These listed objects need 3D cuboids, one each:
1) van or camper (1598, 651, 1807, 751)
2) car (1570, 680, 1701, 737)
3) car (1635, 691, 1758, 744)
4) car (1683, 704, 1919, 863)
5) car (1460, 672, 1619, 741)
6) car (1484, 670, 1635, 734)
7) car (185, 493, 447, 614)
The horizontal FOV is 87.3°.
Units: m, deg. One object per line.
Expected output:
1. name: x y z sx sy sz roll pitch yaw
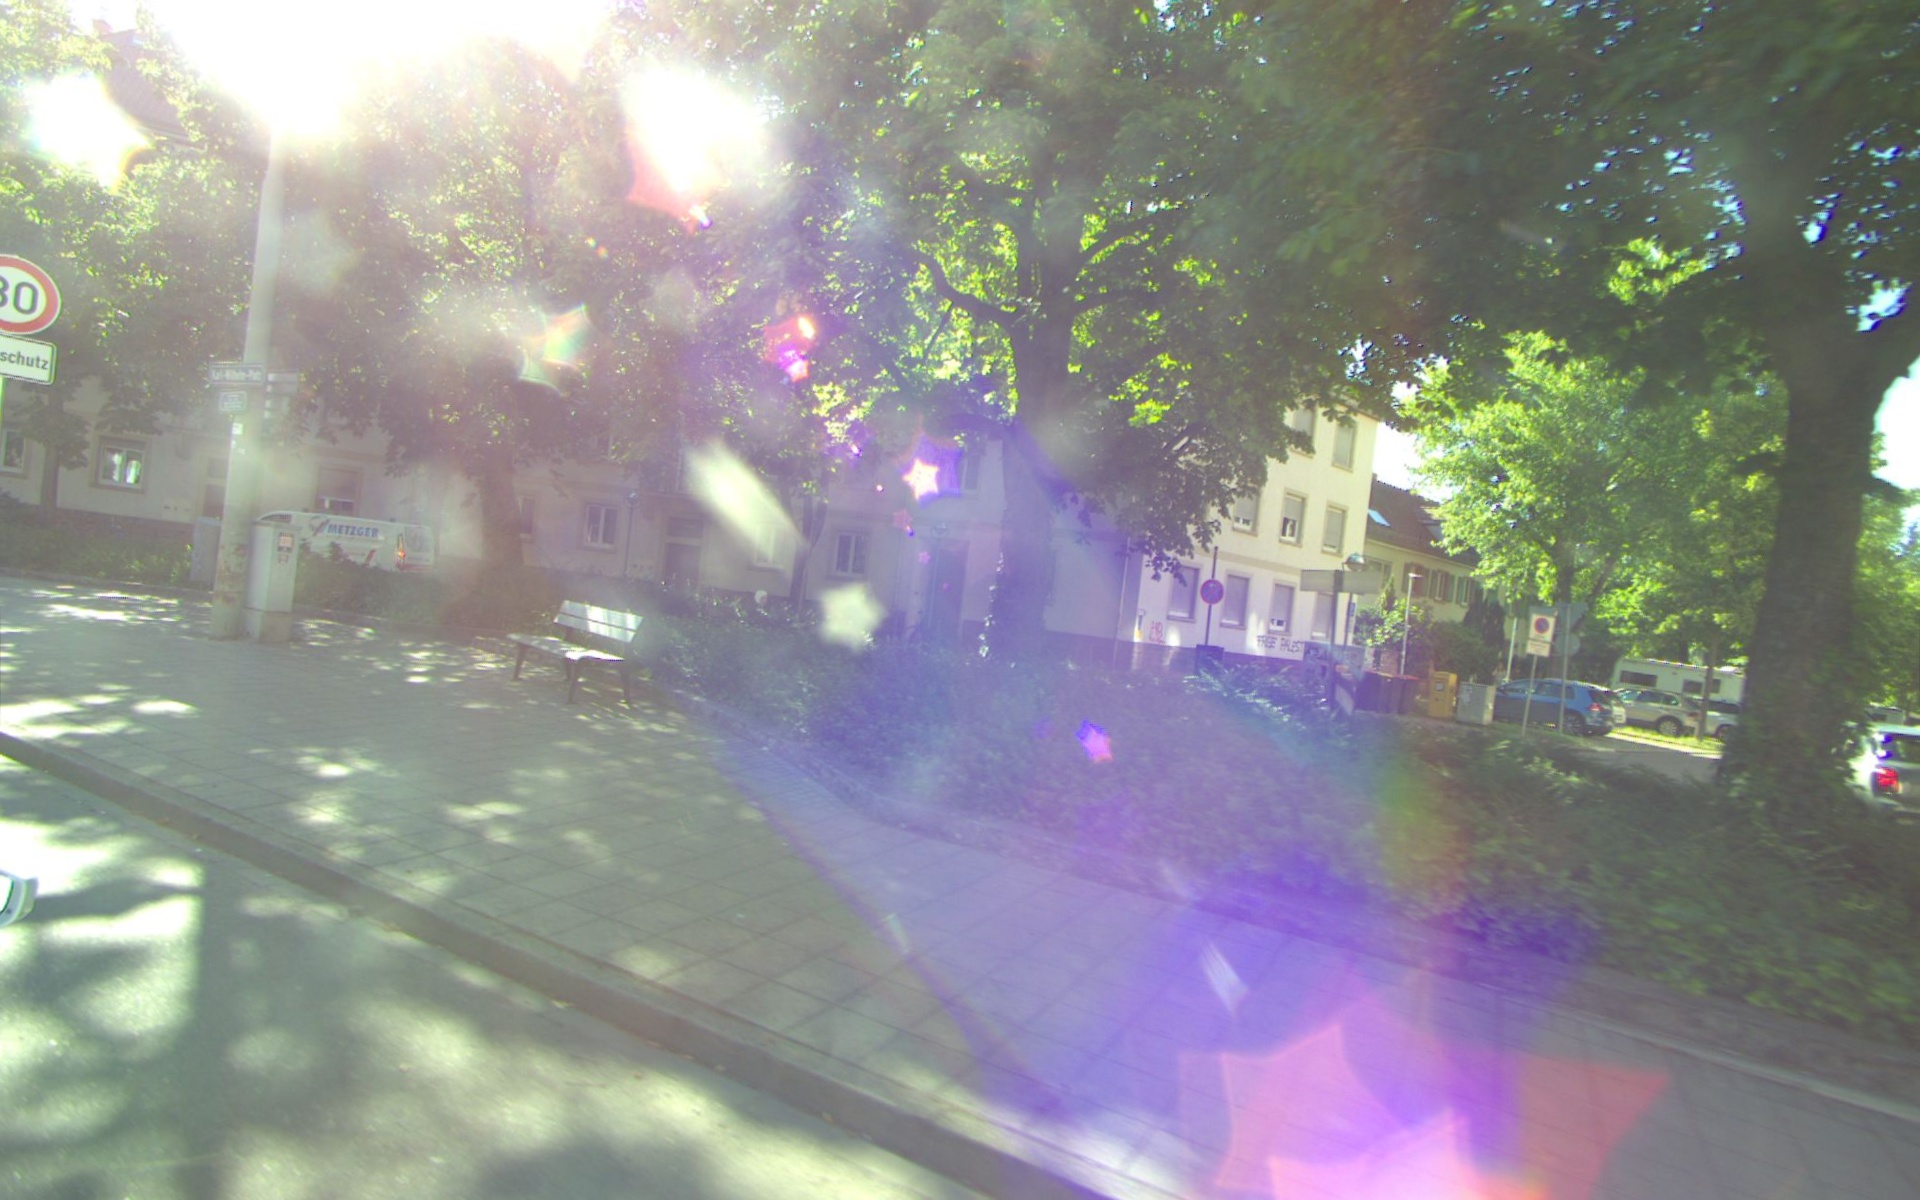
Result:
1. van or camper: 32.191 4.328 43.846 2.613 3.425 6.700 7 -2 -41
2. car: 24.799 3.974 36.996 3.751 1.543 1.595 5 -2 42
3. car: 29.360 4.672 40.168 3.751 1.543 1.595 5 -2 42
4. car: 11.363 2.282 12.832 1.786 1.505 4.005 6 -2 10
5. car: 17.101 3.119 29.779 3.751 1.494 1.595 5 -2 42
6. car: 18.759 3.182 31.566 3.751 1.494 1.595 5 -2 42
7. car: -15.742 -1.082 24.833 4.854 2.234 2.126 7 -1 -2
